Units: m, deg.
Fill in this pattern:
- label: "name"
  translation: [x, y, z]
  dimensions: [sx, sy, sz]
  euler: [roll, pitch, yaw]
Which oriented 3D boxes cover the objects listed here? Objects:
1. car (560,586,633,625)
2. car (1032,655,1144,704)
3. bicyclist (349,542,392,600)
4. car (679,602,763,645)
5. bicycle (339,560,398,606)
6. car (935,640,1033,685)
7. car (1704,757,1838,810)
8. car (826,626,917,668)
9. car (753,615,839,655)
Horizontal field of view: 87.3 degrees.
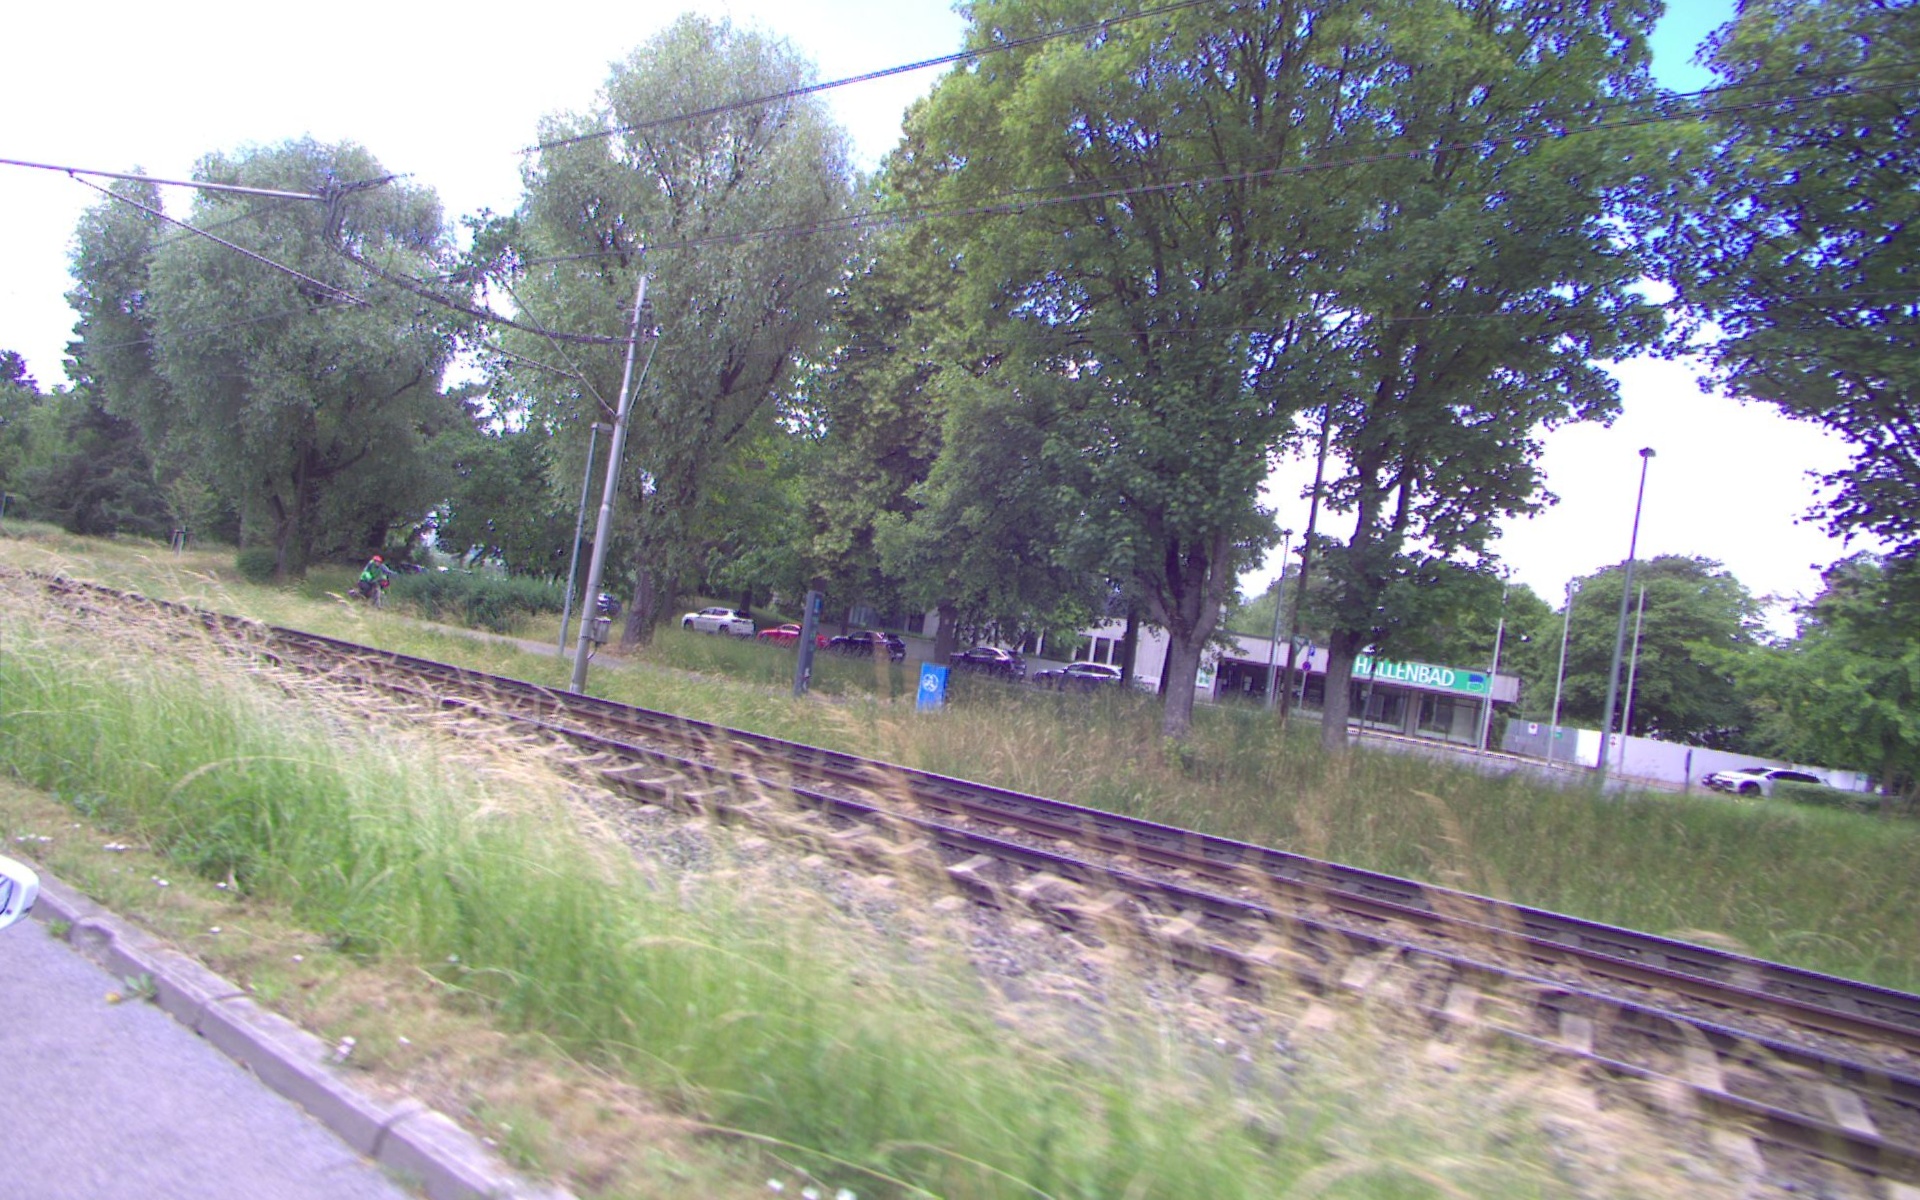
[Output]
- label: "car"
  translation: [-21.905, 0.325, 60.646]
  dimensions: [3.936, 1.718, 1.998]
  euler: [6, -4, 33]
- label: "car"
  translation: [5.559, 3.448, 43.781]
  dimensions: [4.274, 1.458, 1.999]
  euler: [6, -3, 32]
- label: "bicyclist"
  translation: [-18.923, -0.944, 32.313]
  dimensions: [0.919, 1.715, 0.582]
  euler: [7, -2, 28]
- label: "car"
  translation: [-13.148, 1.284, 55.283]
  dimensions: [4.159, 1.718, 1.999]
  euler: [6, -4, 32]
- label: "bicycle"
  translation: [-18.994, -0.546, 32.301]
  dimensions: [1.896, 1.260, 0.582]
  euler: [7, -2, 28]
- label: "car"
  translation: [1.103, 2.870, 46.477]
  dimensions: [3.934, 1.458, 1.999]
  euler: [6, -3, 32]
- label: "car"
  translation: [38.385, 8.656, 47.742]
  dimensions: [4.379, 1.599, 1.982]
  euler: [7, -2, 15]
- label: "car"
  translation: [-4.370, 2.306, 49.738]
  dimensions: [3.934, 1.458, 1.999]
  euler: [6, -3, 32]
- label: "car"
  translation: [-8.531, 1.819, 52.381]
  dimensions: [3.934, 1.458, 1.999]
  euler: [6, -3, 32]
